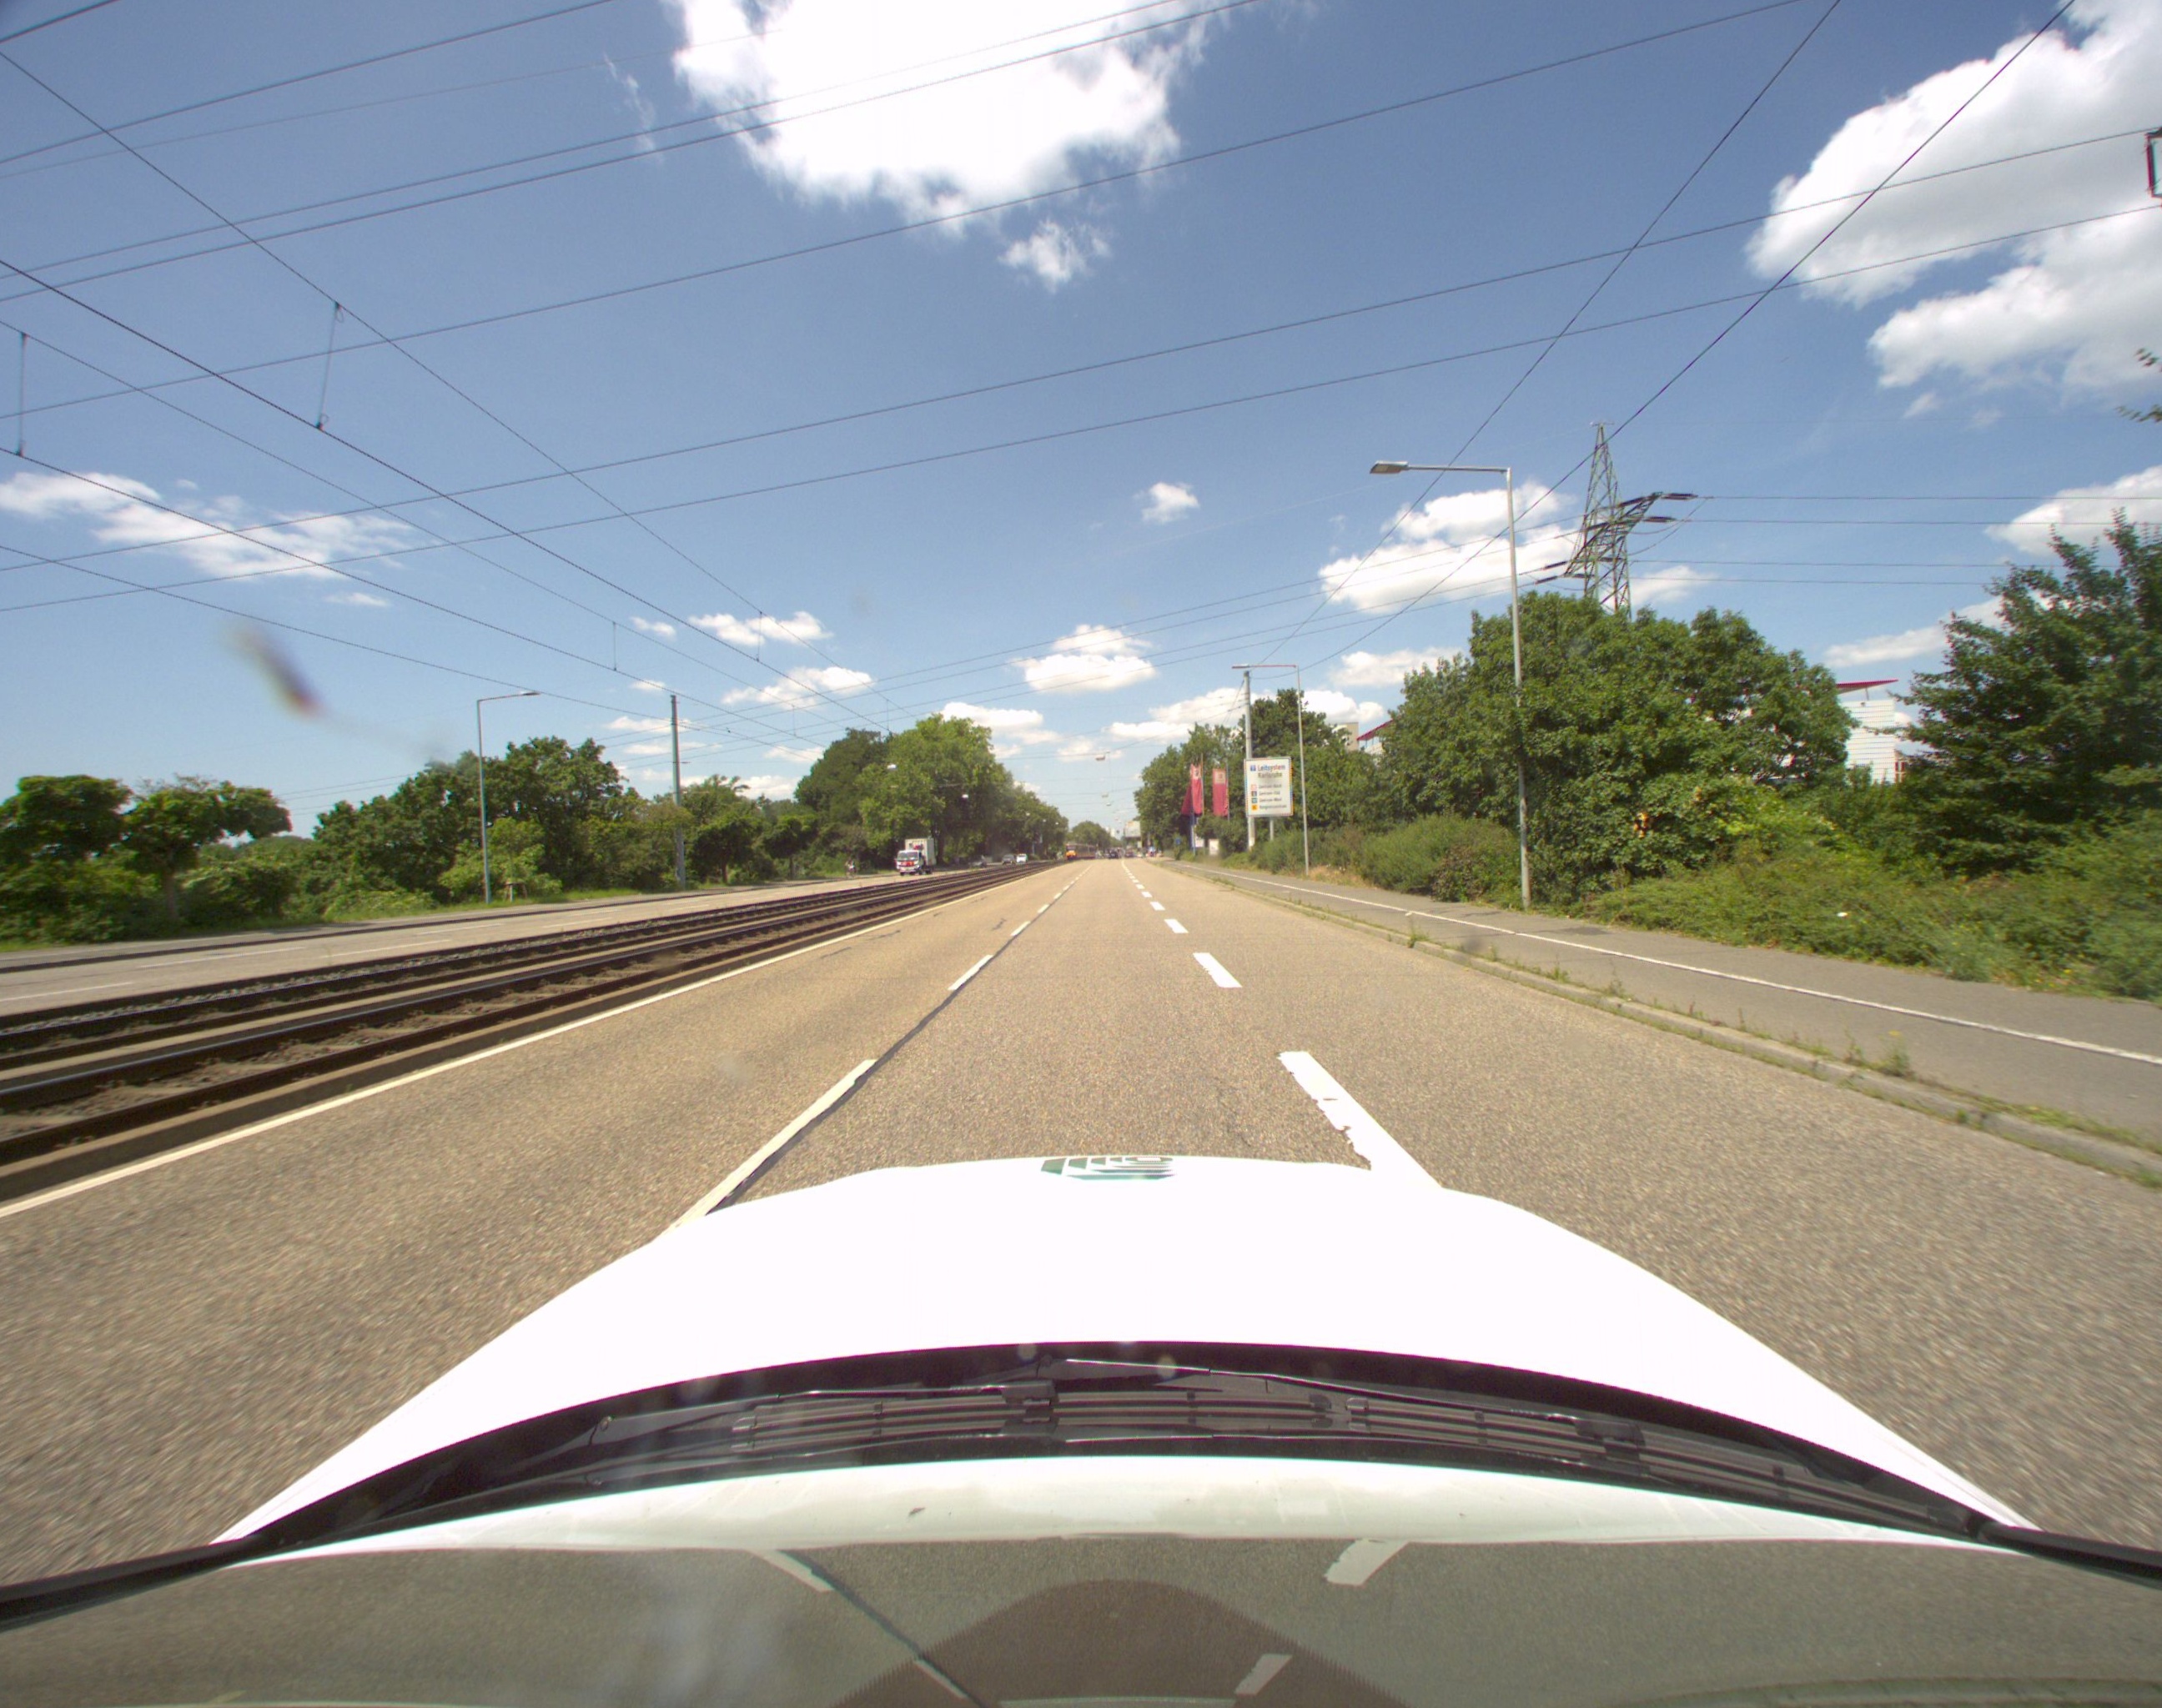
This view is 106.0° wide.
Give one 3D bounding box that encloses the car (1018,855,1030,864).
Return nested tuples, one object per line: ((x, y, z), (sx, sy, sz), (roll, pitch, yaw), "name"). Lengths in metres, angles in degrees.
((-9.807, 0.945, 140.363), (1.631, 1.436, 3.722), (-3, 0, 1), "car")

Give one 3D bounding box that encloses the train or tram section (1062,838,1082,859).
((-1.910, -1.083, 176.644), (3.035, 4.267, 15.436), (-2, 0, 3), "train or tram section")

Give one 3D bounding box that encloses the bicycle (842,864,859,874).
((-19.180, 1.242, 67.844), (0.647, 0.859, 2.124), (0, 0, 6), "bicycle")

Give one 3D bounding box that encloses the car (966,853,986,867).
((-12.434, 0.715, 96.336), (1.746, 1.535, 3.958), (-3, 0, 1), "car")

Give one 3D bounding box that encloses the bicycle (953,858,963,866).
((-15.464, 0.943, 102.151), (0.619, 0.979, 2.059), (1, 0, 8), "bicycle")

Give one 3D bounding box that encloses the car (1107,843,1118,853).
((5.701, -1.061, 146.748), (1.892, 1.805, 3.978), (0, 0, 2), "car")

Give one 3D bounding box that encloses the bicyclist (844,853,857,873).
((-19.192, 0.716, 67.752), (0.647, 1.620, 1.157), (0, 0, 6), "bicyclist")

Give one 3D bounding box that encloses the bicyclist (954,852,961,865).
((-15.453, 0.509, 102.031), (0.619, 1.617, 1.064), (0, 0, 8), "bicyclist")

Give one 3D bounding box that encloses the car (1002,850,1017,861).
((-10.705, 0.228, 121.985), (1.630, 1.421, 4.130), (-3, 0, 3), "car")

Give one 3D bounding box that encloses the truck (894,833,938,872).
((-14.696, -0.127, 72.828), (2.240, 3.236, 6.047), (-2, 0, 3), "truck")
